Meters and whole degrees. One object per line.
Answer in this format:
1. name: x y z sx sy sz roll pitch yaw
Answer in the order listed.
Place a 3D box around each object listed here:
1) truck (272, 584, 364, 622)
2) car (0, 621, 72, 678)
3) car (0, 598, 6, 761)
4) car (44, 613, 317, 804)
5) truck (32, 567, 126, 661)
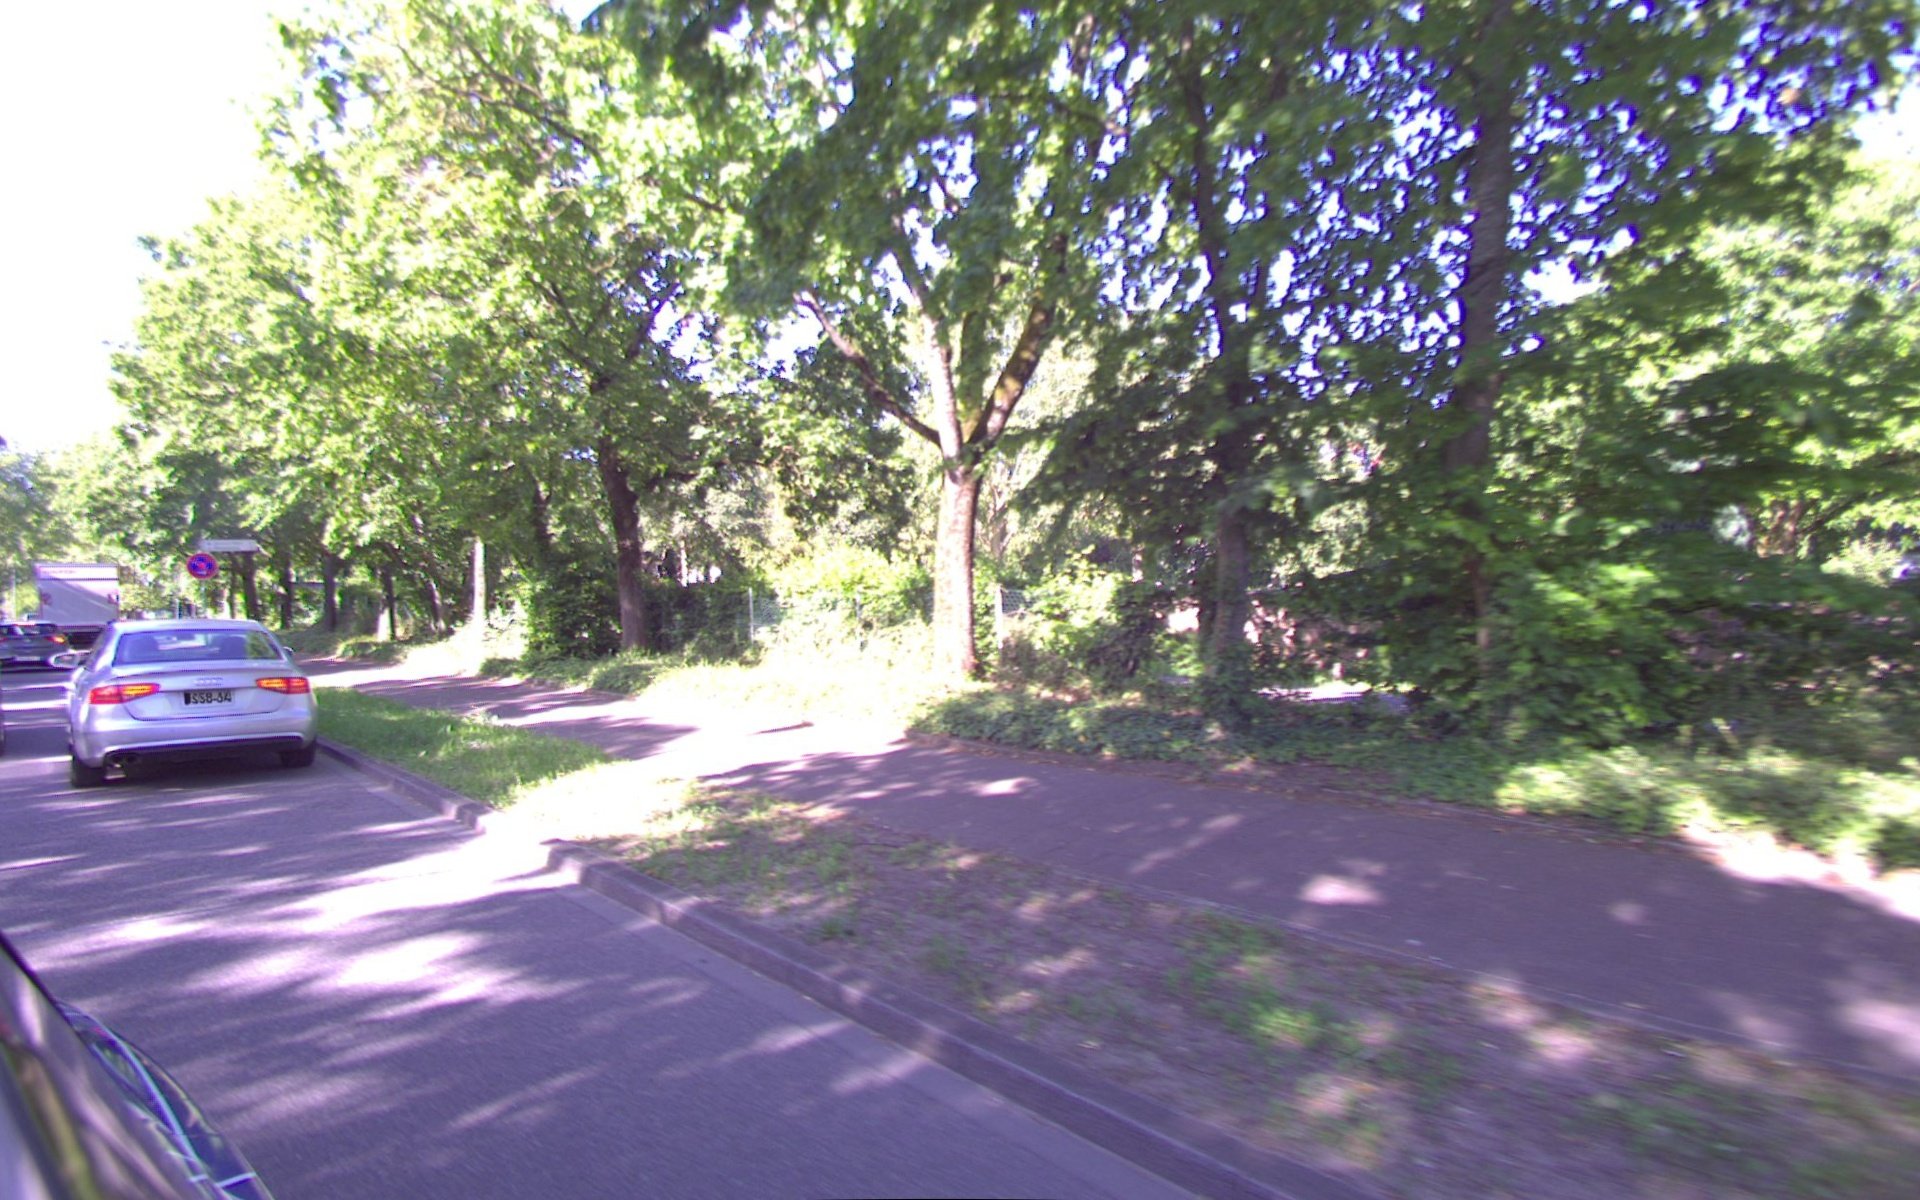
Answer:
1. truck: -35.343 0.173 55.755 3.941 2.029 2.205 0 -1 -45
2. car: -26.300 1.352 28.524 1.735 1.465 4.246 0 -1 -44
3. car: -11.400 0.845 10.777 1.710 1.599 4.003 -2 0 -44
4. car: -7.602 0.874 9.791 1.764 1.427 4.110 0 -1 -41
5. truck: -37.842 0.590 43.366 2.702 3.668 8.109 -2 0 -43
